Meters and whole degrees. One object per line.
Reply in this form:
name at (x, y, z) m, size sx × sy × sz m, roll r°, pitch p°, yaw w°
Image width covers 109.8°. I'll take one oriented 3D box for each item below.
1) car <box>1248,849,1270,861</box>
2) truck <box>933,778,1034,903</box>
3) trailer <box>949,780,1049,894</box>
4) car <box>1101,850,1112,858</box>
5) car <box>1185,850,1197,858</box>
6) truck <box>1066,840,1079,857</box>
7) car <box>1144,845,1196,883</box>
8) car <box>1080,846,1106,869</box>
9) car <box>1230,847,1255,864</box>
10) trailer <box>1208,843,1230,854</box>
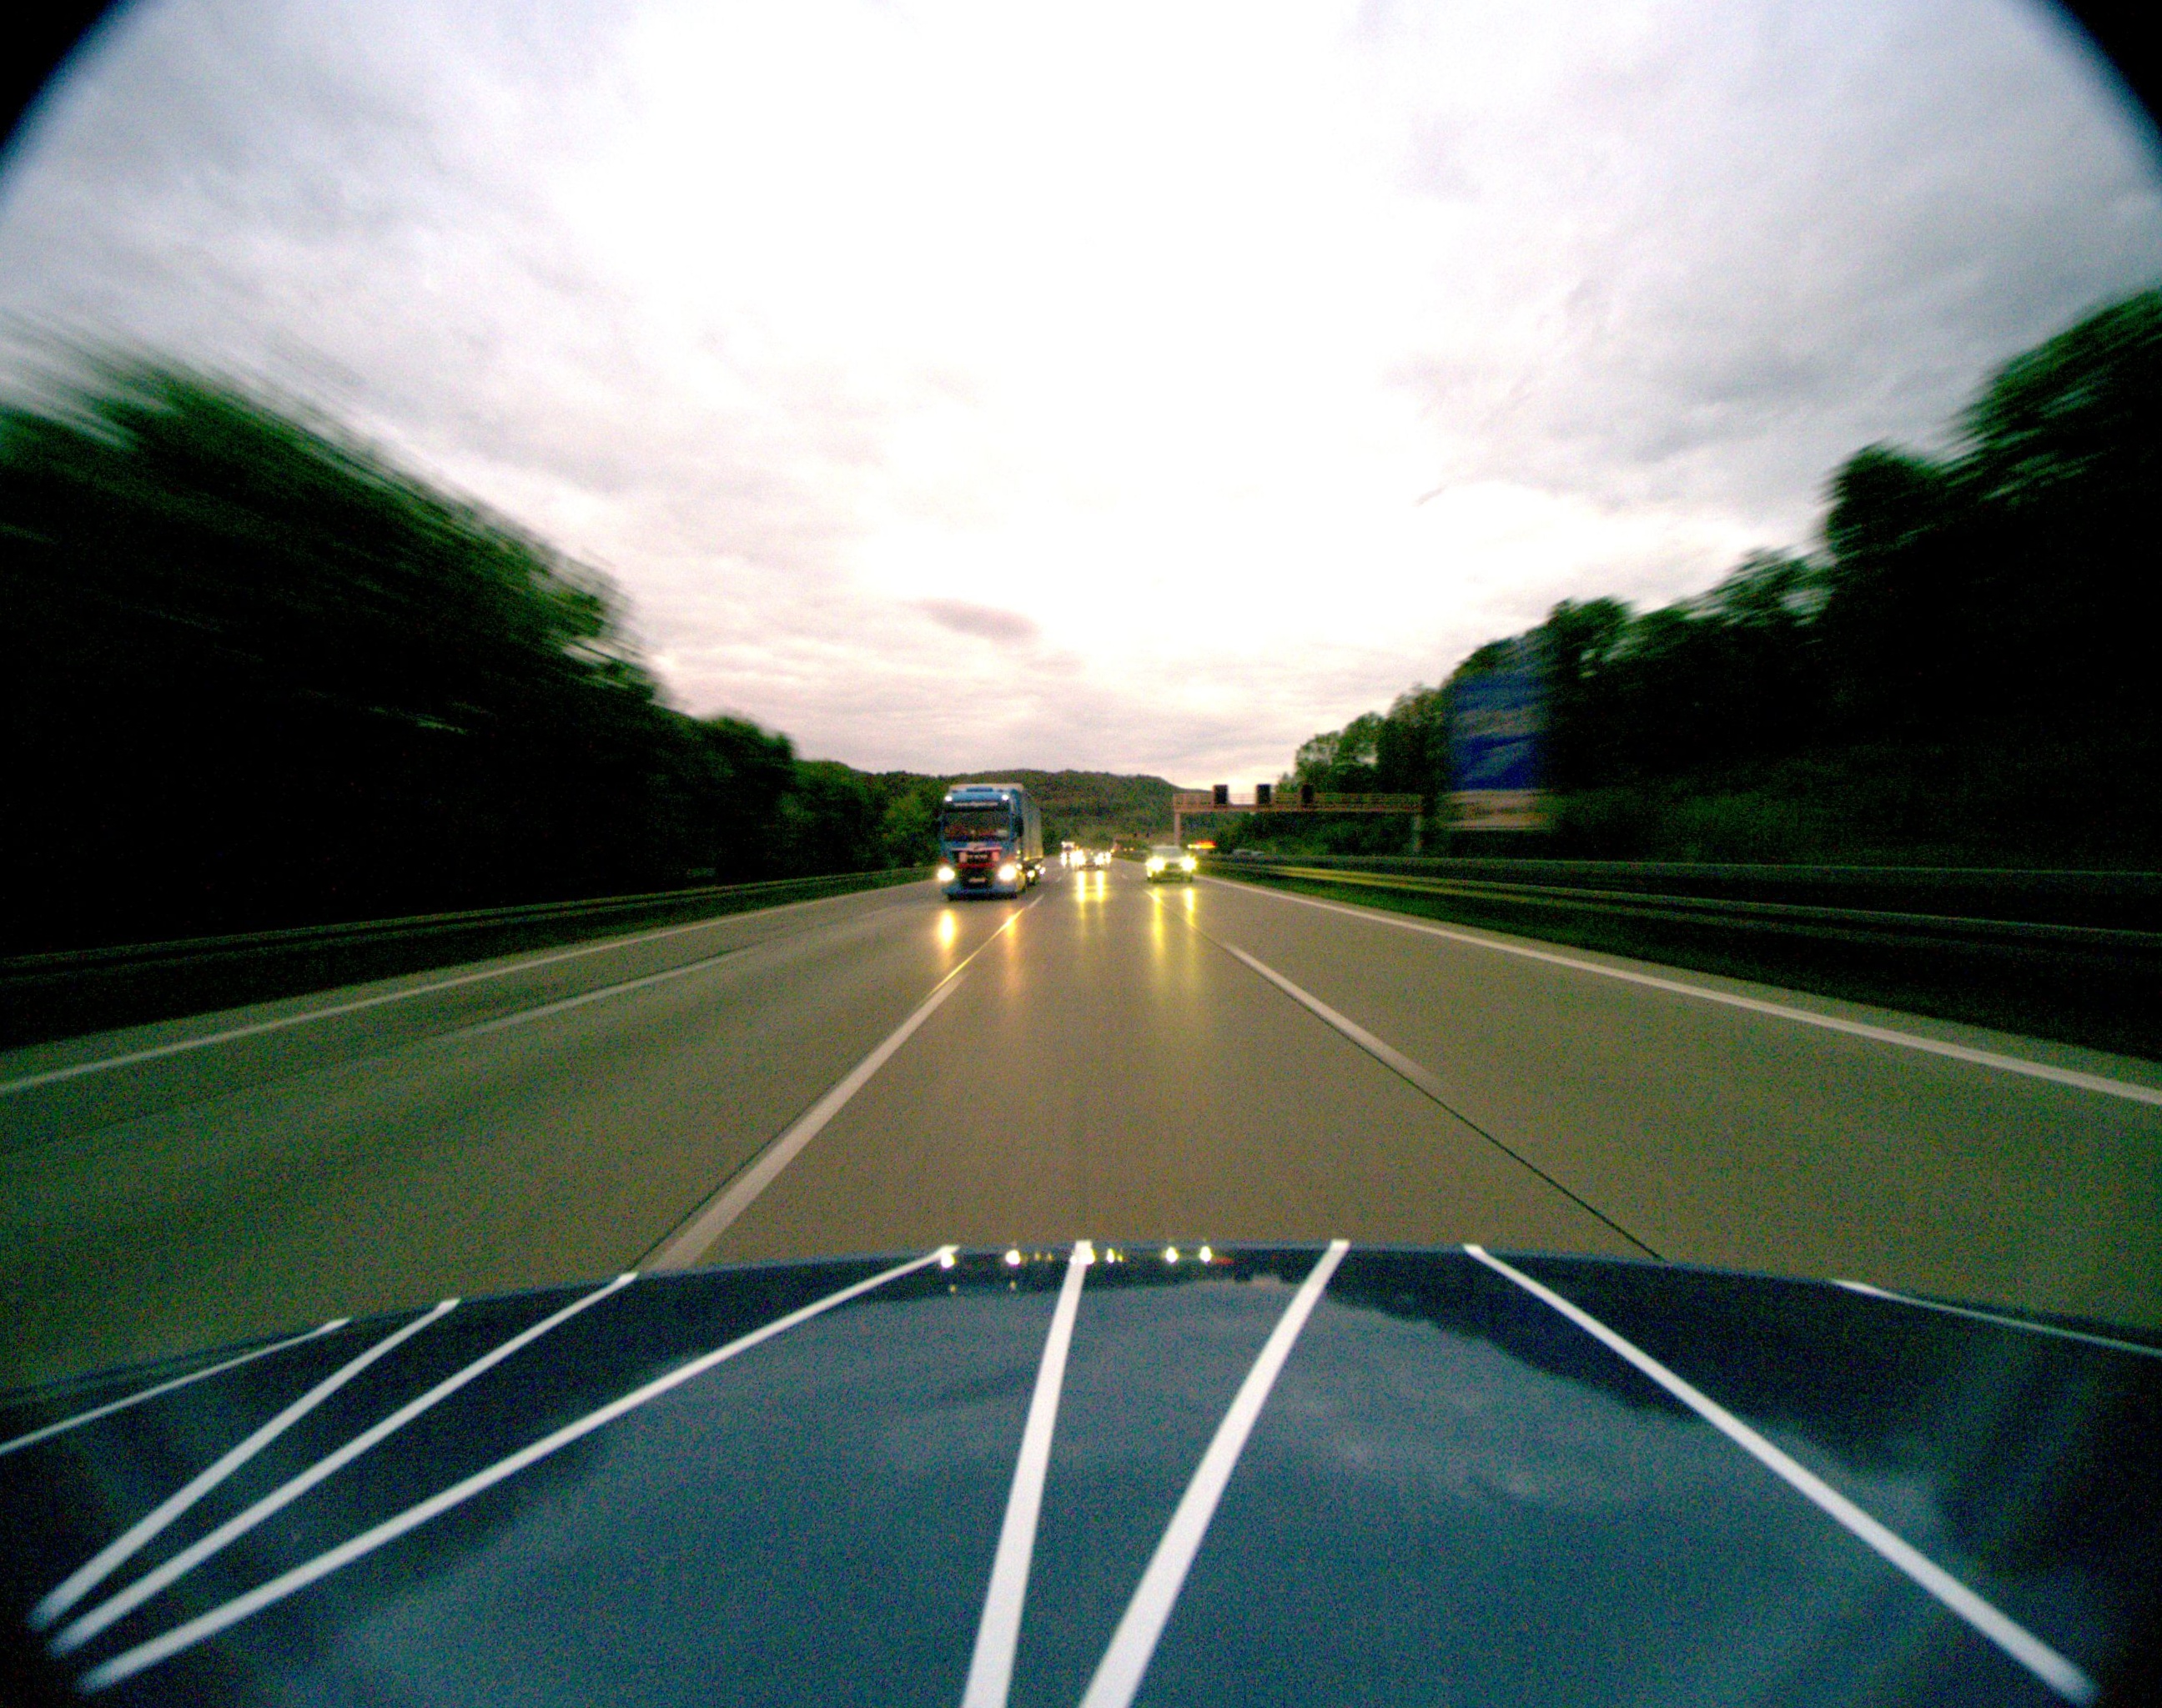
car at (22.093, 0.109, 94.356) m, size 1.766 × 1.473 × 4.390 m, roll -1°, pitch 1°, yaw 0°
truck at (-3.317, -0.463, 27.417) m, size 2.743 × 3.973 × 5.848 m, roll -2°, pitch 1°, yaw 1°
trailer at (-3.242, -0.666, 34.345) m, size 2.779 × 4.063 × 13.738 m, roll -2°, pitch 1°, yaw 1°
car at (5.238, -0.026, 157.213) m, size 1.898 × 1.503 × 3.999 m, roll -1°, pitch 0°, yaw -1°
car at (22.781, -0.053, 157.245) m, size 1.853 × 1.629 × 4.775 m, roll -1°, pitch 1°, yaw 0°
truck at (-1.892, -1.303, 174.830) m, size 2.623 × 3.805 × 10.385 m, roll 0°, pitch 1°, yaw 1°
car at (4.201, 0.414, 36.658) m, size 1.894 × 1.650 × 5.639 m, roll -1°, pitch 1°, yaw 1°
car at (0.956, 0.245, 59.447) m, size 1.927 × 1.674 × 4.806 m, roll 0°, pitch 1°, yaw 1°
car at (16.974, 0.101, 80.110) m, size 1.766 × 1.684 × 4.458 m, roll -1°, pitch 1°, yaw 0°
trailer at (47.872, -2.026, 263.389) m, size 3.063 × 3.657 × 13.368 m, roll -1°, pitch 0°, yaw 31°
